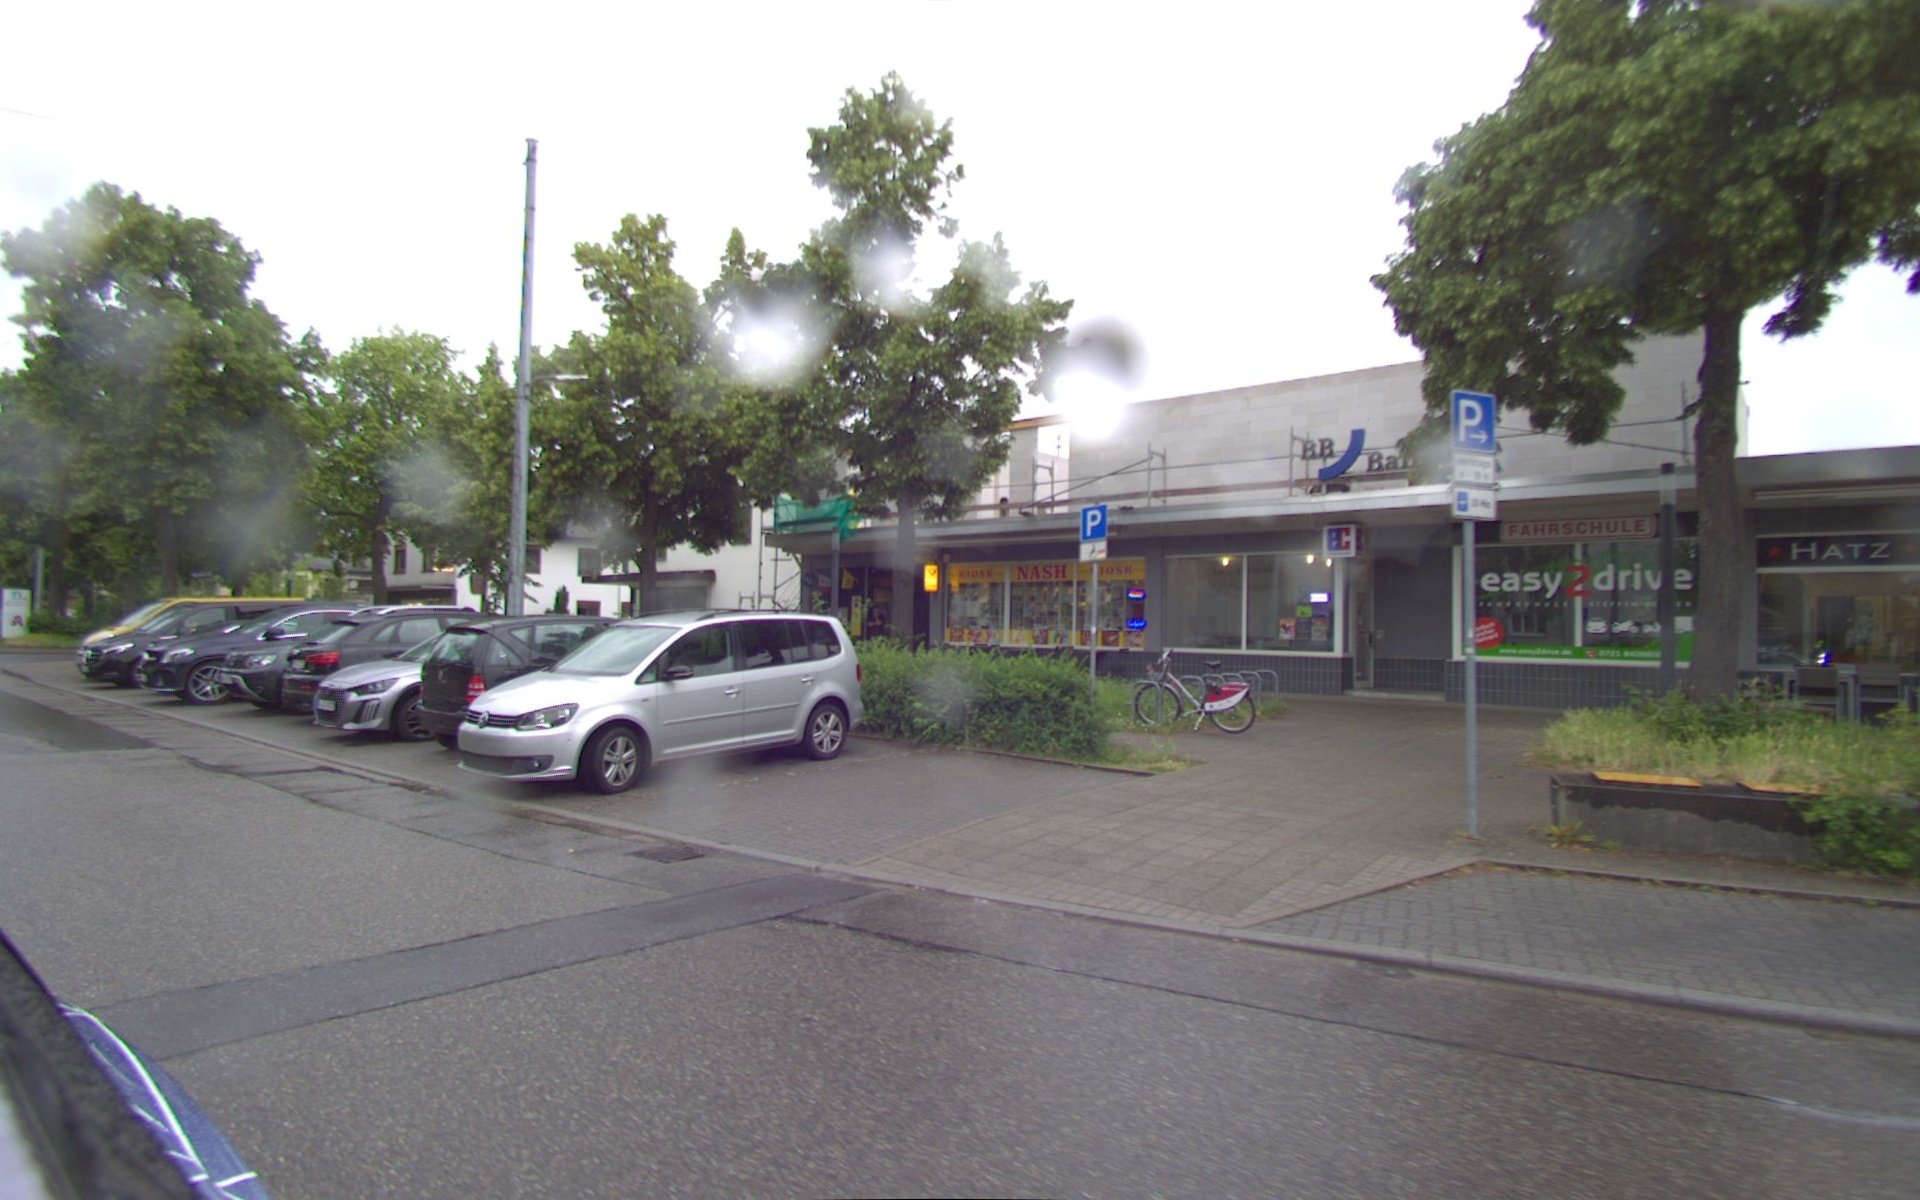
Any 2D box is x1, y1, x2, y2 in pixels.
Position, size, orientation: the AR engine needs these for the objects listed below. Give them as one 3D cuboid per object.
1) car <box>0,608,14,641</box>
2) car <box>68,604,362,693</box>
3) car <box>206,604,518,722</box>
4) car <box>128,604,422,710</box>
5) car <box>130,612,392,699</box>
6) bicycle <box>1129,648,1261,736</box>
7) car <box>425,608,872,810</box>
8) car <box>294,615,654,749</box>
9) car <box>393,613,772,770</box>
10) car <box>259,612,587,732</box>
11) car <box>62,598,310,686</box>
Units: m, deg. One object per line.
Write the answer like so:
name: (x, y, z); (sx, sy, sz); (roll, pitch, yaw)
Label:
car: (-51.256, 1.269, 51.781); (1.997, 1.698, 3.949); (0, 0, 38)
car: (-16.740, 1.002, 23.034); (1.713, 1.813, 5.113); (0, -1, 38)
car: (-9.963, 0.947, 17.158); (1.713, 1.740, 4.231); (0, -1, 38)
car: (-12.584, 0.947, 18.838); (1.713, 1.740, 4.231); (0, -1, 38)
car: (-14.564, 1.074, 21.298); (1.713, 1.639, 4.231); (0, -1, 38)
bicycle: (3.202, 1.242, 13.843); (1.739, 1.115, 0.316); (0, 0, 25)
car: (-2.972, 0.912, 10.490); (1.713, 1.647, 4.231); (0, -1, 38)
car: (-6.583, 1.001, 14.126); (1.713, 1.544, 4.231); (0, -1, 38)
car: (-4.505, 0.978, 12.661); (1.633, 1.577, 4.230); (0, 0, 38)
car: (-8.232, 0.999, 15.873); (1.713, 1.607, 4.231); (0, -1, 38)
car: (-19.050, 0.972, 25.112); (1.713, 1.973, 4.599); (0, -1, 38)
